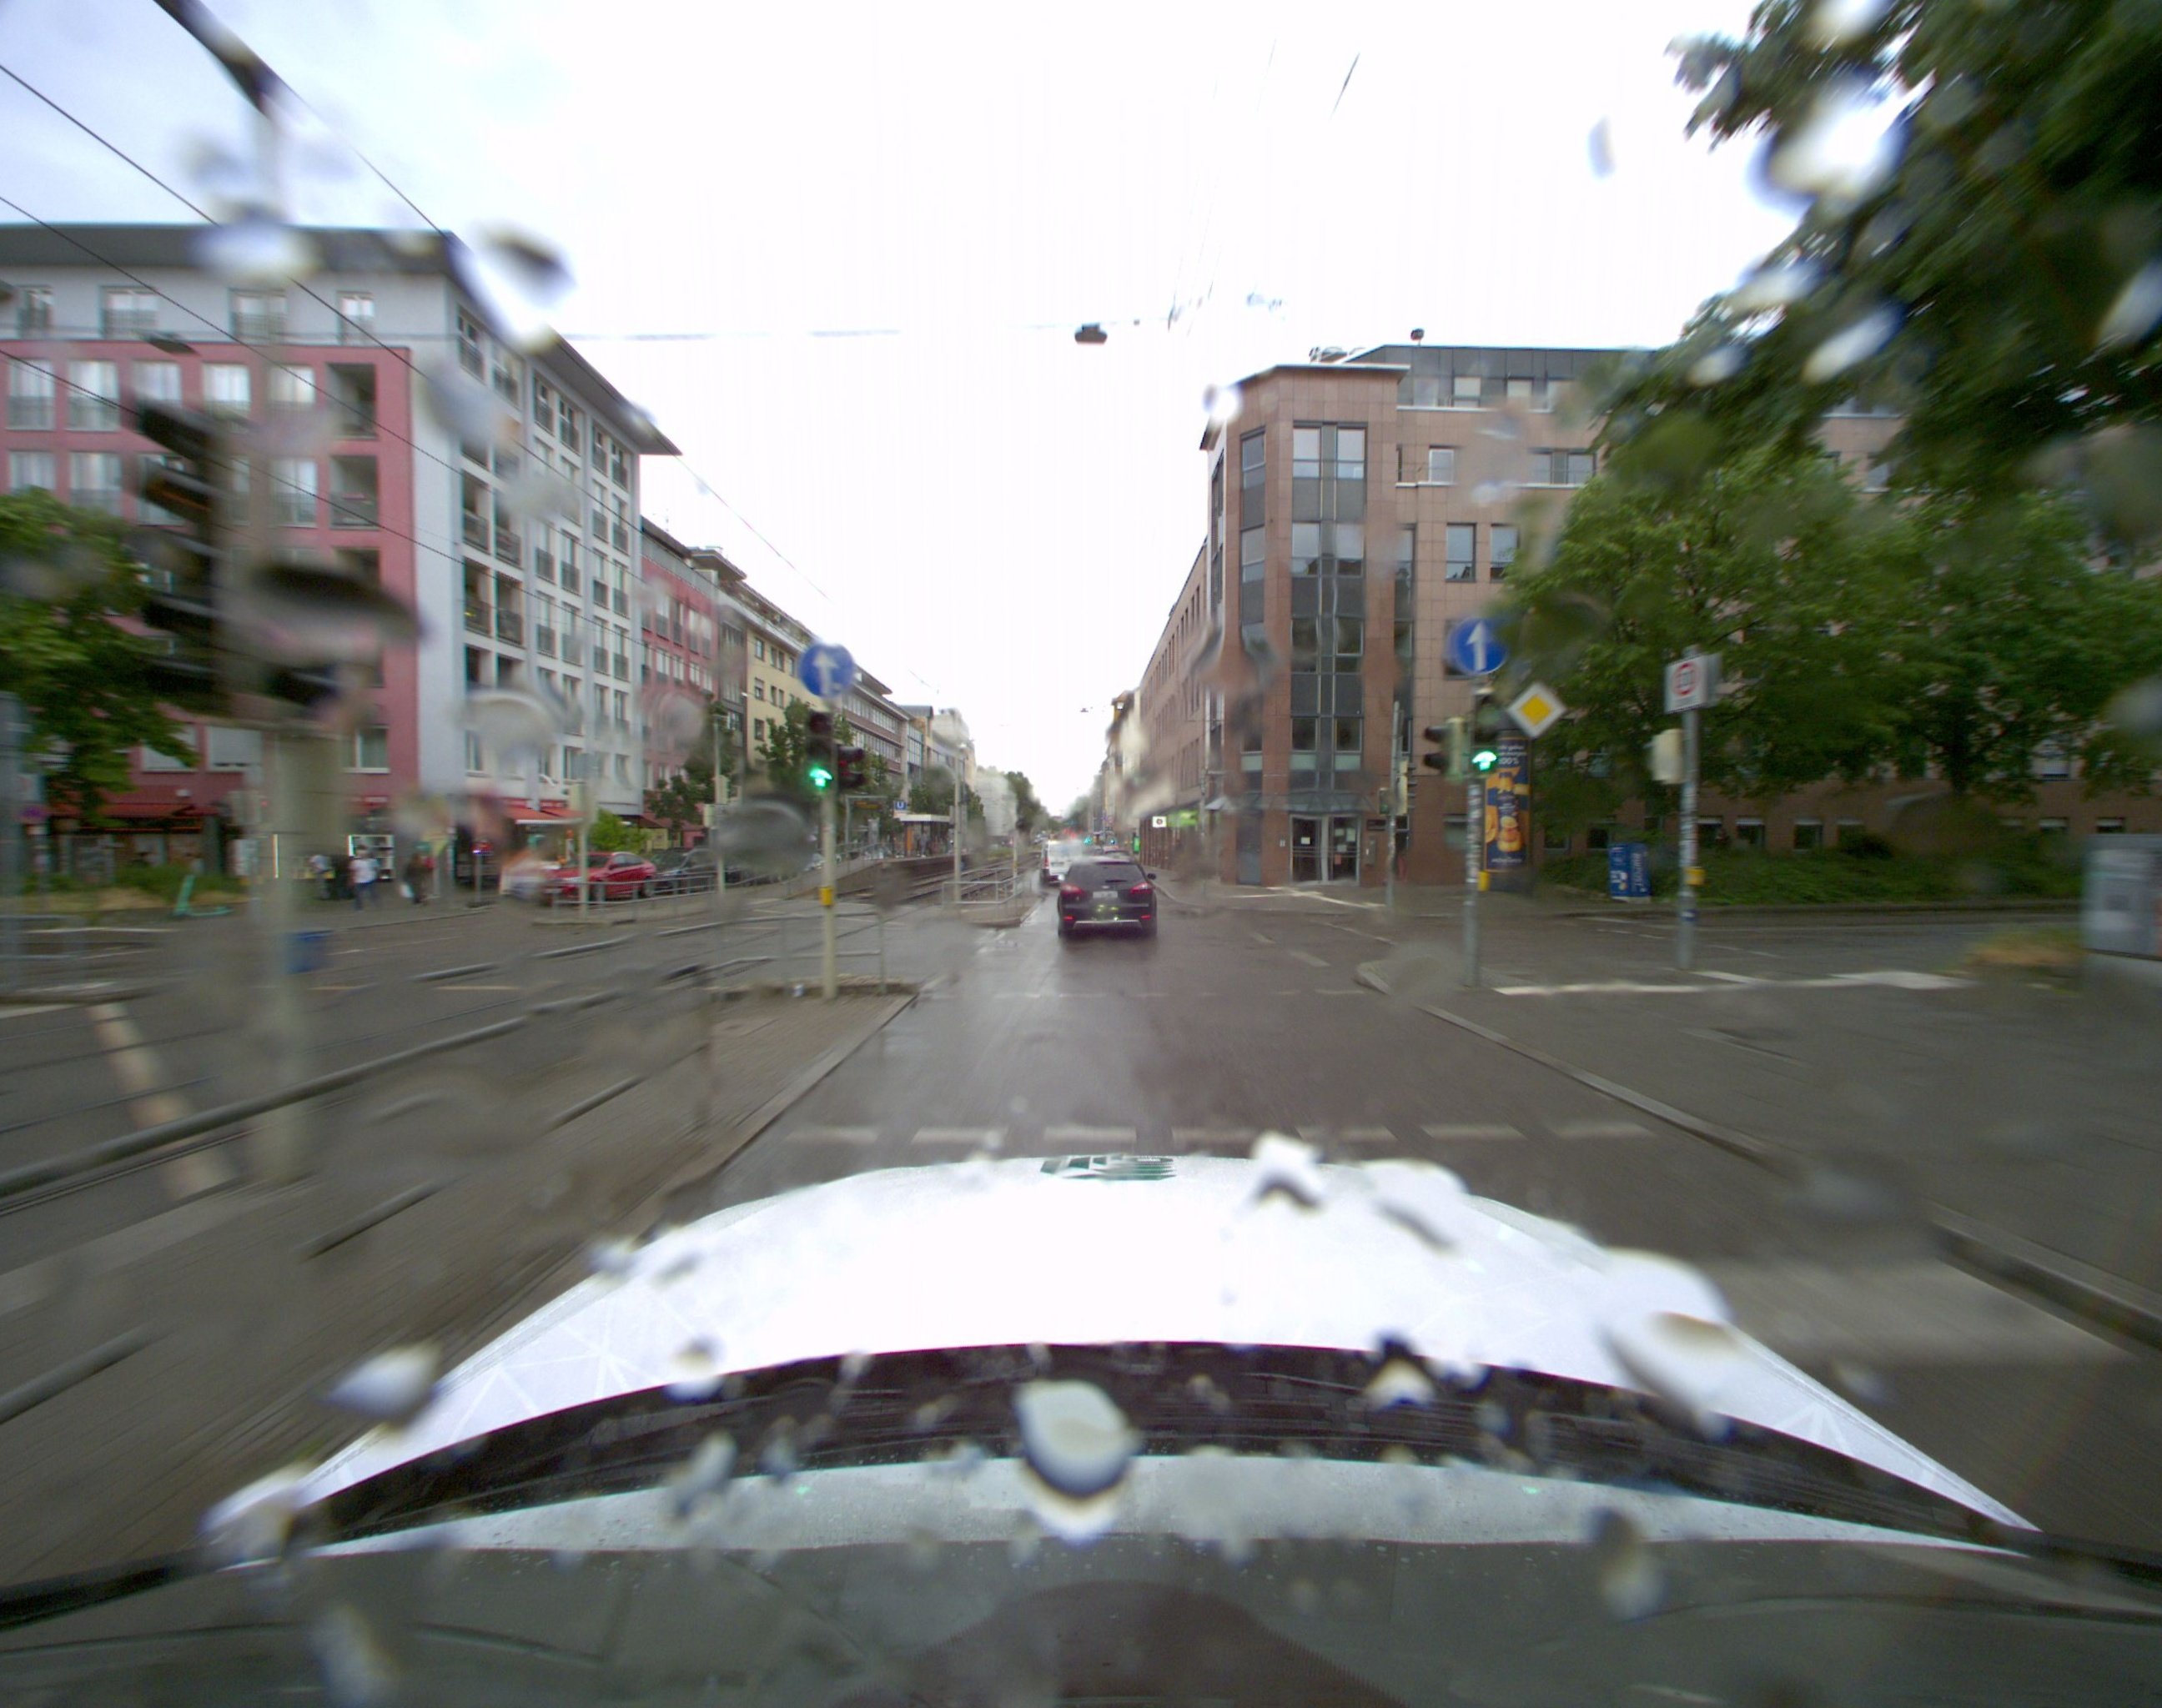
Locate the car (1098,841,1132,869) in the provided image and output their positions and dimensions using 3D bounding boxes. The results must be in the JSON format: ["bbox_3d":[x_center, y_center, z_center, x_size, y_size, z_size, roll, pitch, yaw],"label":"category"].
[{"bbox_3d":[1.908,0.074,46.366,1.693,1.462,3.866,-2,0,0],"label":"car"}]

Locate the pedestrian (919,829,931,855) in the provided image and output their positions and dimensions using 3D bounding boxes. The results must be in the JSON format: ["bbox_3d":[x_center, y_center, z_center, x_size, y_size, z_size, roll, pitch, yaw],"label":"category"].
[{"bbox_3d":[-10.402,-0.810,54.317,0.654,1.711,0.849,0,0,-3],"label":"pedestrian"}]

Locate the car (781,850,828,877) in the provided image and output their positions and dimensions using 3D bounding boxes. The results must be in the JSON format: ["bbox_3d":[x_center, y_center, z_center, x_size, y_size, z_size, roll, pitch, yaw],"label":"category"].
[{"bbox_3d":[-15.938,0.512,47.119,1.565,1.436,3.974,0,0,-4],"label":"car"}]

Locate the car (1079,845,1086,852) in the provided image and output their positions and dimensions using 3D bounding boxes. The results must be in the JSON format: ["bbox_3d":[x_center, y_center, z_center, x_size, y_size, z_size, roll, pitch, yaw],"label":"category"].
[{"bbox_3d":[0.420,-1.429,211.498,1.900,1.633,4.573,0,0,0],"label":"car"}]

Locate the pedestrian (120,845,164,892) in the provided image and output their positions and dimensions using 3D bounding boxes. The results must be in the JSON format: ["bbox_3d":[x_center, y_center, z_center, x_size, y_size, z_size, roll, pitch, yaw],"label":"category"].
[{"bbox_3d":[-28.793,0.443,24.984,0.558,1.405,0.650,1,0,-3],"label":"pedestrian"}]

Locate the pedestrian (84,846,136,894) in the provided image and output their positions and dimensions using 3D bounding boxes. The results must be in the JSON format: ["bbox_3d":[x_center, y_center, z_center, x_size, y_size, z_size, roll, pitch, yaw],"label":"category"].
[{"bbox_3d":[-28.823,0.479,24.191,0.688,1.383,0.658,1,0,-3],"label":"pedestrian"}]

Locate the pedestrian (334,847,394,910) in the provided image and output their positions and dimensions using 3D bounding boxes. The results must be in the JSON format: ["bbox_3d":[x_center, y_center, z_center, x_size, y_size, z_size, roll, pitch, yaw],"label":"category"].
[{"bbox_3d":[-20.003,0.678,22.741,0.819,1.697,0.983,1,0,-9],"label":"pedestrian"}]

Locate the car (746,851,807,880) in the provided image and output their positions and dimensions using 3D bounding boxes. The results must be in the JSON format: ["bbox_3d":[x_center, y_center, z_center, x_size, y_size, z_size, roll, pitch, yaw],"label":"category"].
[{"bbox_3d":[-15.877,0.551,42.682,1.837,1.436,4.314,0,0,-4],"label":"car"}]

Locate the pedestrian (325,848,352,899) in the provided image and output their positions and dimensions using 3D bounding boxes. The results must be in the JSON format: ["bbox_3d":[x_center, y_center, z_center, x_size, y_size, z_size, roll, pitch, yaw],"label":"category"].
[{"bbox_3d":[-24.141,0.641,26.486,0.548,1.631,0.568,2,-1,-37],"label":"pedestrian"}]

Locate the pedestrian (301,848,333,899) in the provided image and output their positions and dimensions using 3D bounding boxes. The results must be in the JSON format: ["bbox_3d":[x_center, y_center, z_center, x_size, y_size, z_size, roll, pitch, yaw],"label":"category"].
[{"bbox_3d":[-24.909,0.619,26.571,0.581,1.631,0.606,2,0,-27],"label":"pedestrian"}]

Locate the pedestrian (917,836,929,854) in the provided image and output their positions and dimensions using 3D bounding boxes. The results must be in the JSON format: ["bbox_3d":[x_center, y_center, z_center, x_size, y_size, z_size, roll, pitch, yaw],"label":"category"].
[{"bbox_3d":[-10.962,-0.611,56.580,0.691,1.249,0.883,0,0,-3],"label":"pedestrian"}]

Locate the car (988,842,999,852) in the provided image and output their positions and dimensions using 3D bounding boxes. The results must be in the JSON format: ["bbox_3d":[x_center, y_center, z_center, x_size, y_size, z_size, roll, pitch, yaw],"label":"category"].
[{"bbox_3d":[-17.082,-1.378,158.333,1.903,1.864,4.567,0,0,-4],"label":"car"}]

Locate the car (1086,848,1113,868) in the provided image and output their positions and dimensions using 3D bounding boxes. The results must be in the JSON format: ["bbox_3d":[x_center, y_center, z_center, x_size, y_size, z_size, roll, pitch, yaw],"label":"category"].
[{"bbox_3d":[1.391,0.291,63.016,1.770,1.468,4.604,0,0,-3],"label":"car"}]

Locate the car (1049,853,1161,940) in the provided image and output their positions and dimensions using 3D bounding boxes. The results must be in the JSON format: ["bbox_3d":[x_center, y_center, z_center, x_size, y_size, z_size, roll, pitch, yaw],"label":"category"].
[{"bbox_3d":[0.404,0.729,15.518,1.900,1.462,3.444,0,0,0],"label":"car"}]

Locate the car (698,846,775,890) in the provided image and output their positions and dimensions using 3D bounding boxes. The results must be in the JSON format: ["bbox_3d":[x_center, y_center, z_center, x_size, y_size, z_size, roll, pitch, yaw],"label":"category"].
[{"bbox_3d":[-15.481,0.567,36.873,1.798,1.858,4.376,0,0,-3],"label":"car"}]

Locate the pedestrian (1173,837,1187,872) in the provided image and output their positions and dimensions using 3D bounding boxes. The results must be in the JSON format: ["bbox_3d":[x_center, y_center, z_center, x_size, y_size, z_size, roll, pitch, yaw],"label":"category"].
[{"bbox_3d":[4.771,0.038,39.227,0.600,1.659,0.625,-1,0,-1],"label":"pedestrian"}]

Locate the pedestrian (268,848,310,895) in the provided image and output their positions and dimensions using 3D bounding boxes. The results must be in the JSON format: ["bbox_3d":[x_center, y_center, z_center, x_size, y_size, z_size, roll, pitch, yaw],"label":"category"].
[{"bbox_3d":[-25.048,0.558,25.751,0.637,1.461,0.656,1,0,-3],"label":"pedestrian"}]

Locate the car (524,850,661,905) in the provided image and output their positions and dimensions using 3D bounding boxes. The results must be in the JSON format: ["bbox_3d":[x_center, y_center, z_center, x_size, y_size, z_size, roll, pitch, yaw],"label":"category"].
[{"bbox_3d":[-15.919,0.705,26.854,1.720,1.611,4.553,0,1,1],"label":"car"}]

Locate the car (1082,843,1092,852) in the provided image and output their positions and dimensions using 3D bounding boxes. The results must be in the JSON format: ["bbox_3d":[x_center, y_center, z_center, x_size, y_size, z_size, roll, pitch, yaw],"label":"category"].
[{"bbox_3d":[1.066,-1.148,149.534,1.900,1.633,4.573,0,0,0],"label":"car"}]

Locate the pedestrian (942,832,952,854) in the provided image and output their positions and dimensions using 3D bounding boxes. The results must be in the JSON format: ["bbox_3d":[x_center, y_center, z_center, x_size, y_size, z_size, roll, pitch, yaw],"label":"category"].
[{"bbox_3d":[-11.129,-0.935,67.644,0.654,1.801,0.849,0,0,-3],"label":"pedestrian"}]

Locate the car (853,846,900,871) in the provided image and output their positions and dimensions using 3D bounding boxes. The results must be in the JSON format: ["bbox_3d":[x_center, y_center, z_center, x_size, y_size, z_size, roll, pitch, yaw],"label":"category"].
[{"bbox_3d":[-13.478,0.266,53.900,1.801,1.578,5.020,0,0,0],"label":"car"}]

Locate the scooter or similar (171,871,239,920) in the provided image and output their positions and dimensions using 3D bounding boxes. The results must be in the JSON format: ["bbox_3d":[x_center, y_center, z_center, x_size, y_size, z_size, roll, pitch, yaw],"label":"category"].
[{"bbox_3d":[-22.197,1.034,20.655,0.388,1.191,1.212,-1,0,1],"label":"scooter or similar"}]

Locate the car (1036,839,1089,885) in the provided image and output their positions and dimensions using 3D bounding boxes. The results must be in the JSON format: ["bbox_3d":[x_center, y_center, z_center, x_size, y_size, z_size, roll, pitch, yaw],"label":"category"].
[{"bbox_3d":[-0.881,0.339,35.875,1.904,1.864,4.563,0,0,-7],"label":"car"}]

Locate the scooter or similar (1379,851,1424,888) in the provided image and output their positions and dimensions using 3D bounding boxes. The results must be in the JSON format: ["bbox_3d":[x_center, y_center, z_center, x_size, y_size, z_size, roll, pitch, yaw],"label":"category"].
[{"bbox_3d":[10.786,0.521,27.439,1.368,1.227,0.325,-1,-1,2],"label":"scooter or similar"}]

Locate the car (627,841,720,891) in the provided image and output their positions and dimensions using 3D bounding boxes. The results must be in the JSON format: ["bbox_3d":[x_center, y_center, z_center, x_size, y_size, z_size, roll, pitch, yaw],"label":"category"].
[{"bbox_3d":[-16.002,0.432,32.230,1.703,1.858,4.316,0,0,-3],"label":"car"}]

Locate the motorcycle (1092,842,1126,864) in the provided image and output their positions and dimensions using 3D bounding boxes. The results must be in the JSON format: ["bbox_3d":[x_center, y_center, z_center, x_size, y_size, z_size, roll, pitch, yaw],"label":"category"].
[{"bbox_3d":[1.869,-0.088,53.501,2.067,1.407,0.802,-1,0,17],"label":"motorcycle"}]

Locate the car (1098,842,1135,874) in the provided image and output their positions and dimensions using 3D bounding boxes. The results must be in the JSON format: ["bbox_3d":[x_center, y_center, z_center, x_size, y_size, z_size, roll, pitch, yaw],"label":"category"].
[{"bbox_3d":[1.708,0.198,40.718,1.693,1.479,3.867,-2,0,1],"label":"car"}]

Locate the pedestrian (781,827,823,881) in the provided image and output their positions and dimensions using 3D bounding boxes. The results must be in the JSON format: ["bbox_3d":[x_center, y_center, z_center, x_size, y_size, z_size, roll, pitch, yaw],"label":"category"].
[{"bbox_3d":[-10.736,-0.007,31.372,1.113,2.014,1.383,-1,0,-1],"label":"pedestrian"}]

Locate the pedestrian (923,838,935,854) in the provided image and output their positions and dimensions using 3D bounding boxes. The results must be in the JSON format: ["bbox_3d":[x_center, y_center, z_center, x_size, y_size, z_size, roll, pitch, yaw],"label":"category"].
[{"bbox_3d":[-10.960,-0.558,58.679,0.892,1.123,0.847,0,0,-12],"label":"pedestrian"}]

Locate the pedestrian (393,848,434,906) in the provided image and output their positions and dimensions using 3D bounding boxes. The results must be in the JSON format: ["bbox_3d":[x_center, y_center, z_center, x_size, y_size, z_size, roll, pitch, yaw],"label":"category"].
[{"bbox_3d":[-19.651,0.646,23.978,0.871,1.631,0.812,2,3,45],"label":"pedestrian"}]
